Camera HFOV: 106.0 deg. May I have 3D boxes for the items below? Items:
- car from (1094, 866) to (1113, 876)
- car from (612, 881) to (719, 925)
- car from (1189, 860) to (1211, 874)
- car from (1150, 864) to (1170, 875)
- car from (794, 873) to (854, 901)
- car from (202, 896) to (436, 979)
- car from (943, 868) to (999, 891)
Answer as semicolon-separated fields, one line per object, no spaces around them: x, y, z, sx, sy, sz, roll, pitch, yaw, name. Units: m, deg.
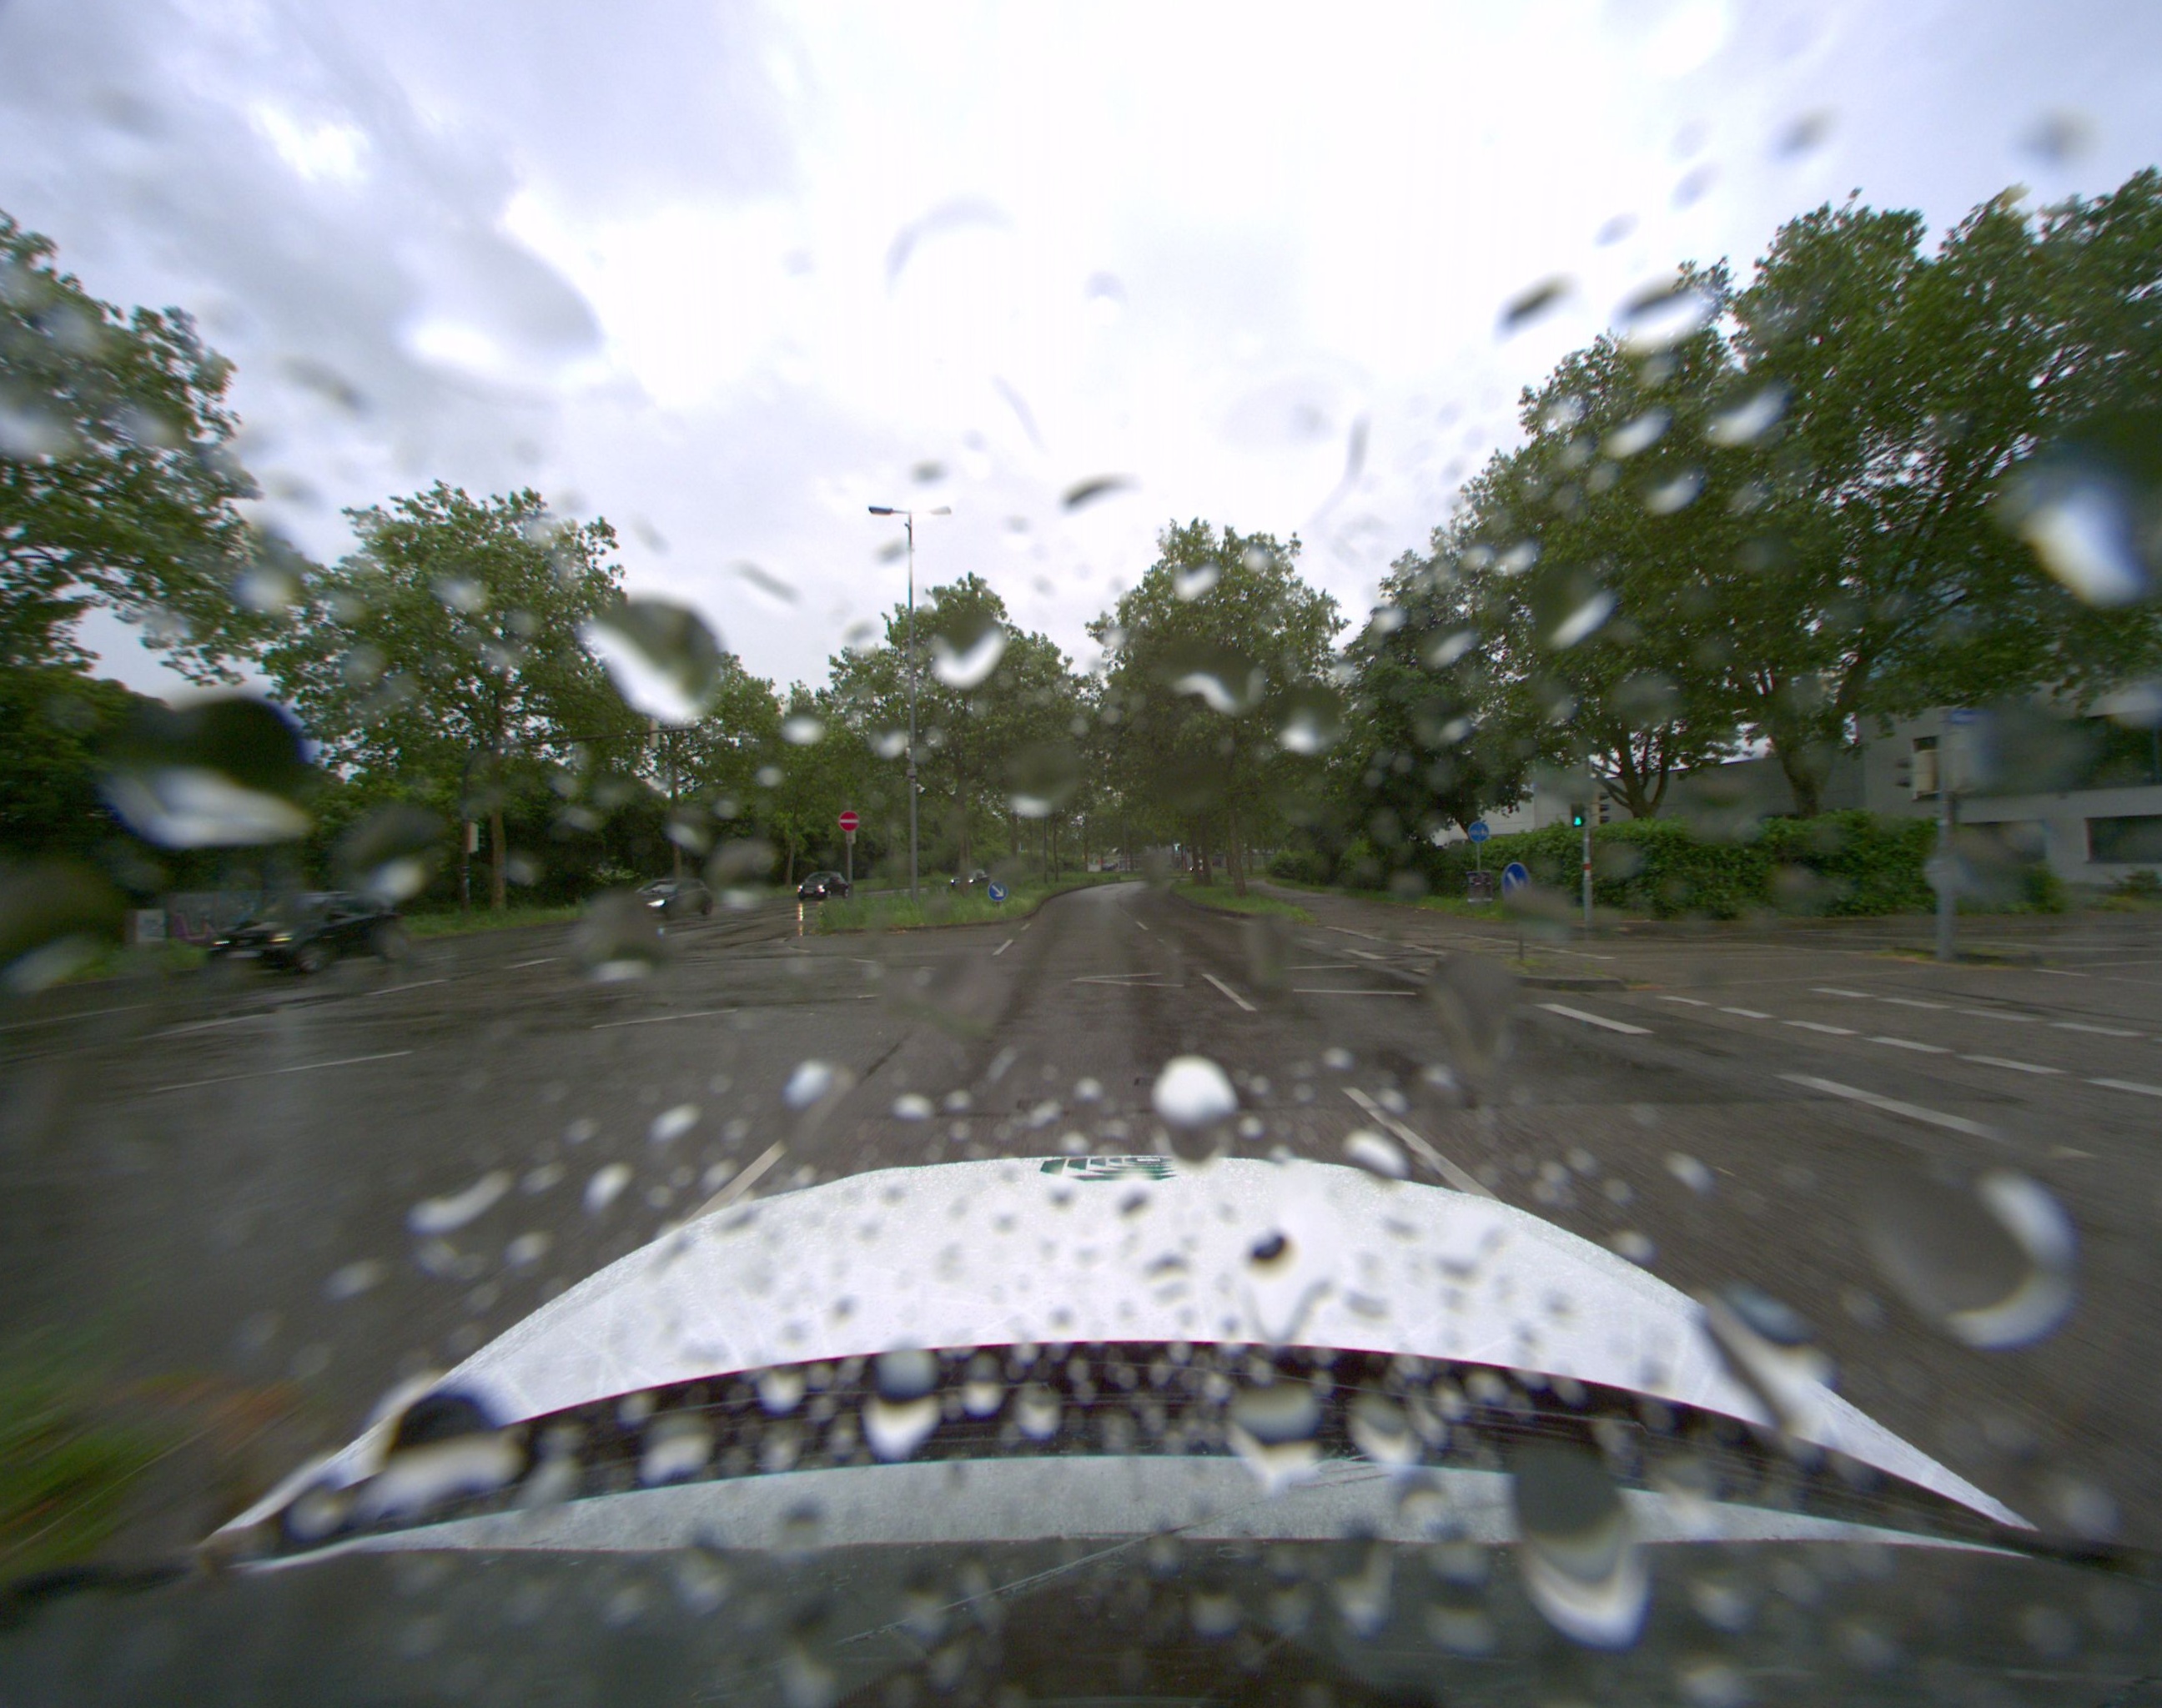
4.892;3.759;177.315;3.983;2.014;1.995;-1;-3;-7;car
-14.954;1.710;29.593;1.581;1.373;4.263;-2;-1;1;car
20.476;2.146;139.694;2.262;2.272;5.999;-2;-1;22;car
12.102;2.381;124.811;1.955;1.564;4.754;-2;-1;20;car
-13.860;1.755;44.164;1.580;1.373;4.266;-2;-1;4;car
-15.290;1.611;16.594;1.582;1.373;3.334;-2;-1;1;car
-7.775;1.777;58.039;1.988;1.452;5.013;-2;-1;17;car
